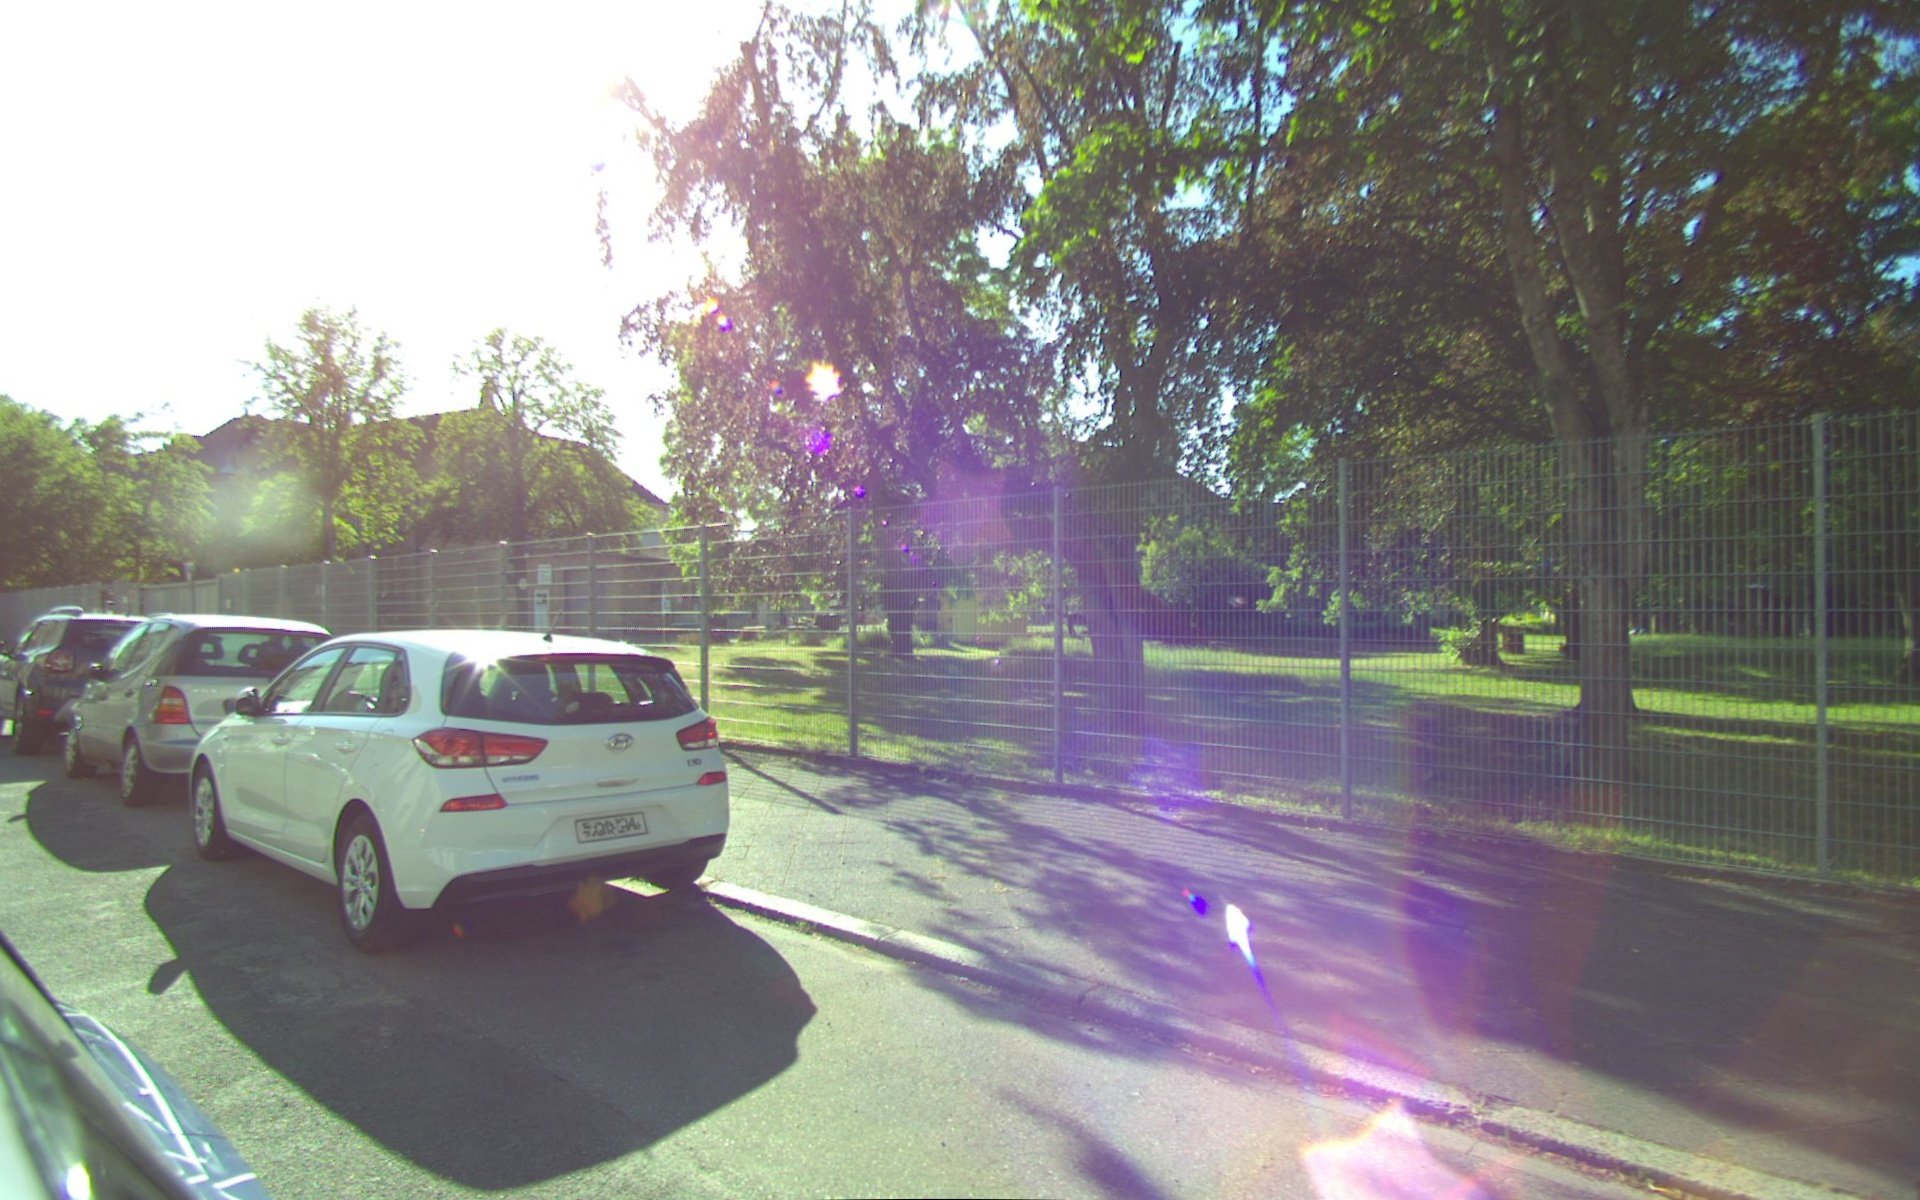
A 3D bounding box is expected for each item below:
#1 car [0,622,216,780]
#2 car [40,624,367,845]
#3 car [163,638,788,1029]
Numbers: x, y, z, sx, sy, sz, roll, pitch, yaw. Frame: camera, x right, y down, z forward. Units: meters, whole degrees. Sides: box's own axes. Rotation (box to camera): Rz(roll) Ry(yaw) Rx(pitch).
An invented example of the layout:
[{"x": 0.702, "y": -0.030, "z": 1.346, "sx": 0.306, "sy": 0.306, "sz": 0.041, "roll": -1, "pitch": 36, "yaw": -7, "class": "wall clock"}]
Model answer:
[{"x": -11.088, "y": 1.149, "z": 12.769, "sx": 4.161, "sy": 1.676, "sz": 1.695, "roll": -1, "pitch": -4, "yaw": 39, "class": "car"}, {"x": -7.151, "y": 1.096, "z": 9.461, "sx": 3.612, "sy": 1.656, "sz": 1.548, "roll": -1, "pitch": -4, "yaw": 39, "class": "car"}, {"x": -3.049, "y": 0.991, "z": 5.965, "sx": 4.117, "sy": 1.456, "sz": 1.775, "roll": -1, "pitch": -3, "yaw": 40, "class": "car"}]
